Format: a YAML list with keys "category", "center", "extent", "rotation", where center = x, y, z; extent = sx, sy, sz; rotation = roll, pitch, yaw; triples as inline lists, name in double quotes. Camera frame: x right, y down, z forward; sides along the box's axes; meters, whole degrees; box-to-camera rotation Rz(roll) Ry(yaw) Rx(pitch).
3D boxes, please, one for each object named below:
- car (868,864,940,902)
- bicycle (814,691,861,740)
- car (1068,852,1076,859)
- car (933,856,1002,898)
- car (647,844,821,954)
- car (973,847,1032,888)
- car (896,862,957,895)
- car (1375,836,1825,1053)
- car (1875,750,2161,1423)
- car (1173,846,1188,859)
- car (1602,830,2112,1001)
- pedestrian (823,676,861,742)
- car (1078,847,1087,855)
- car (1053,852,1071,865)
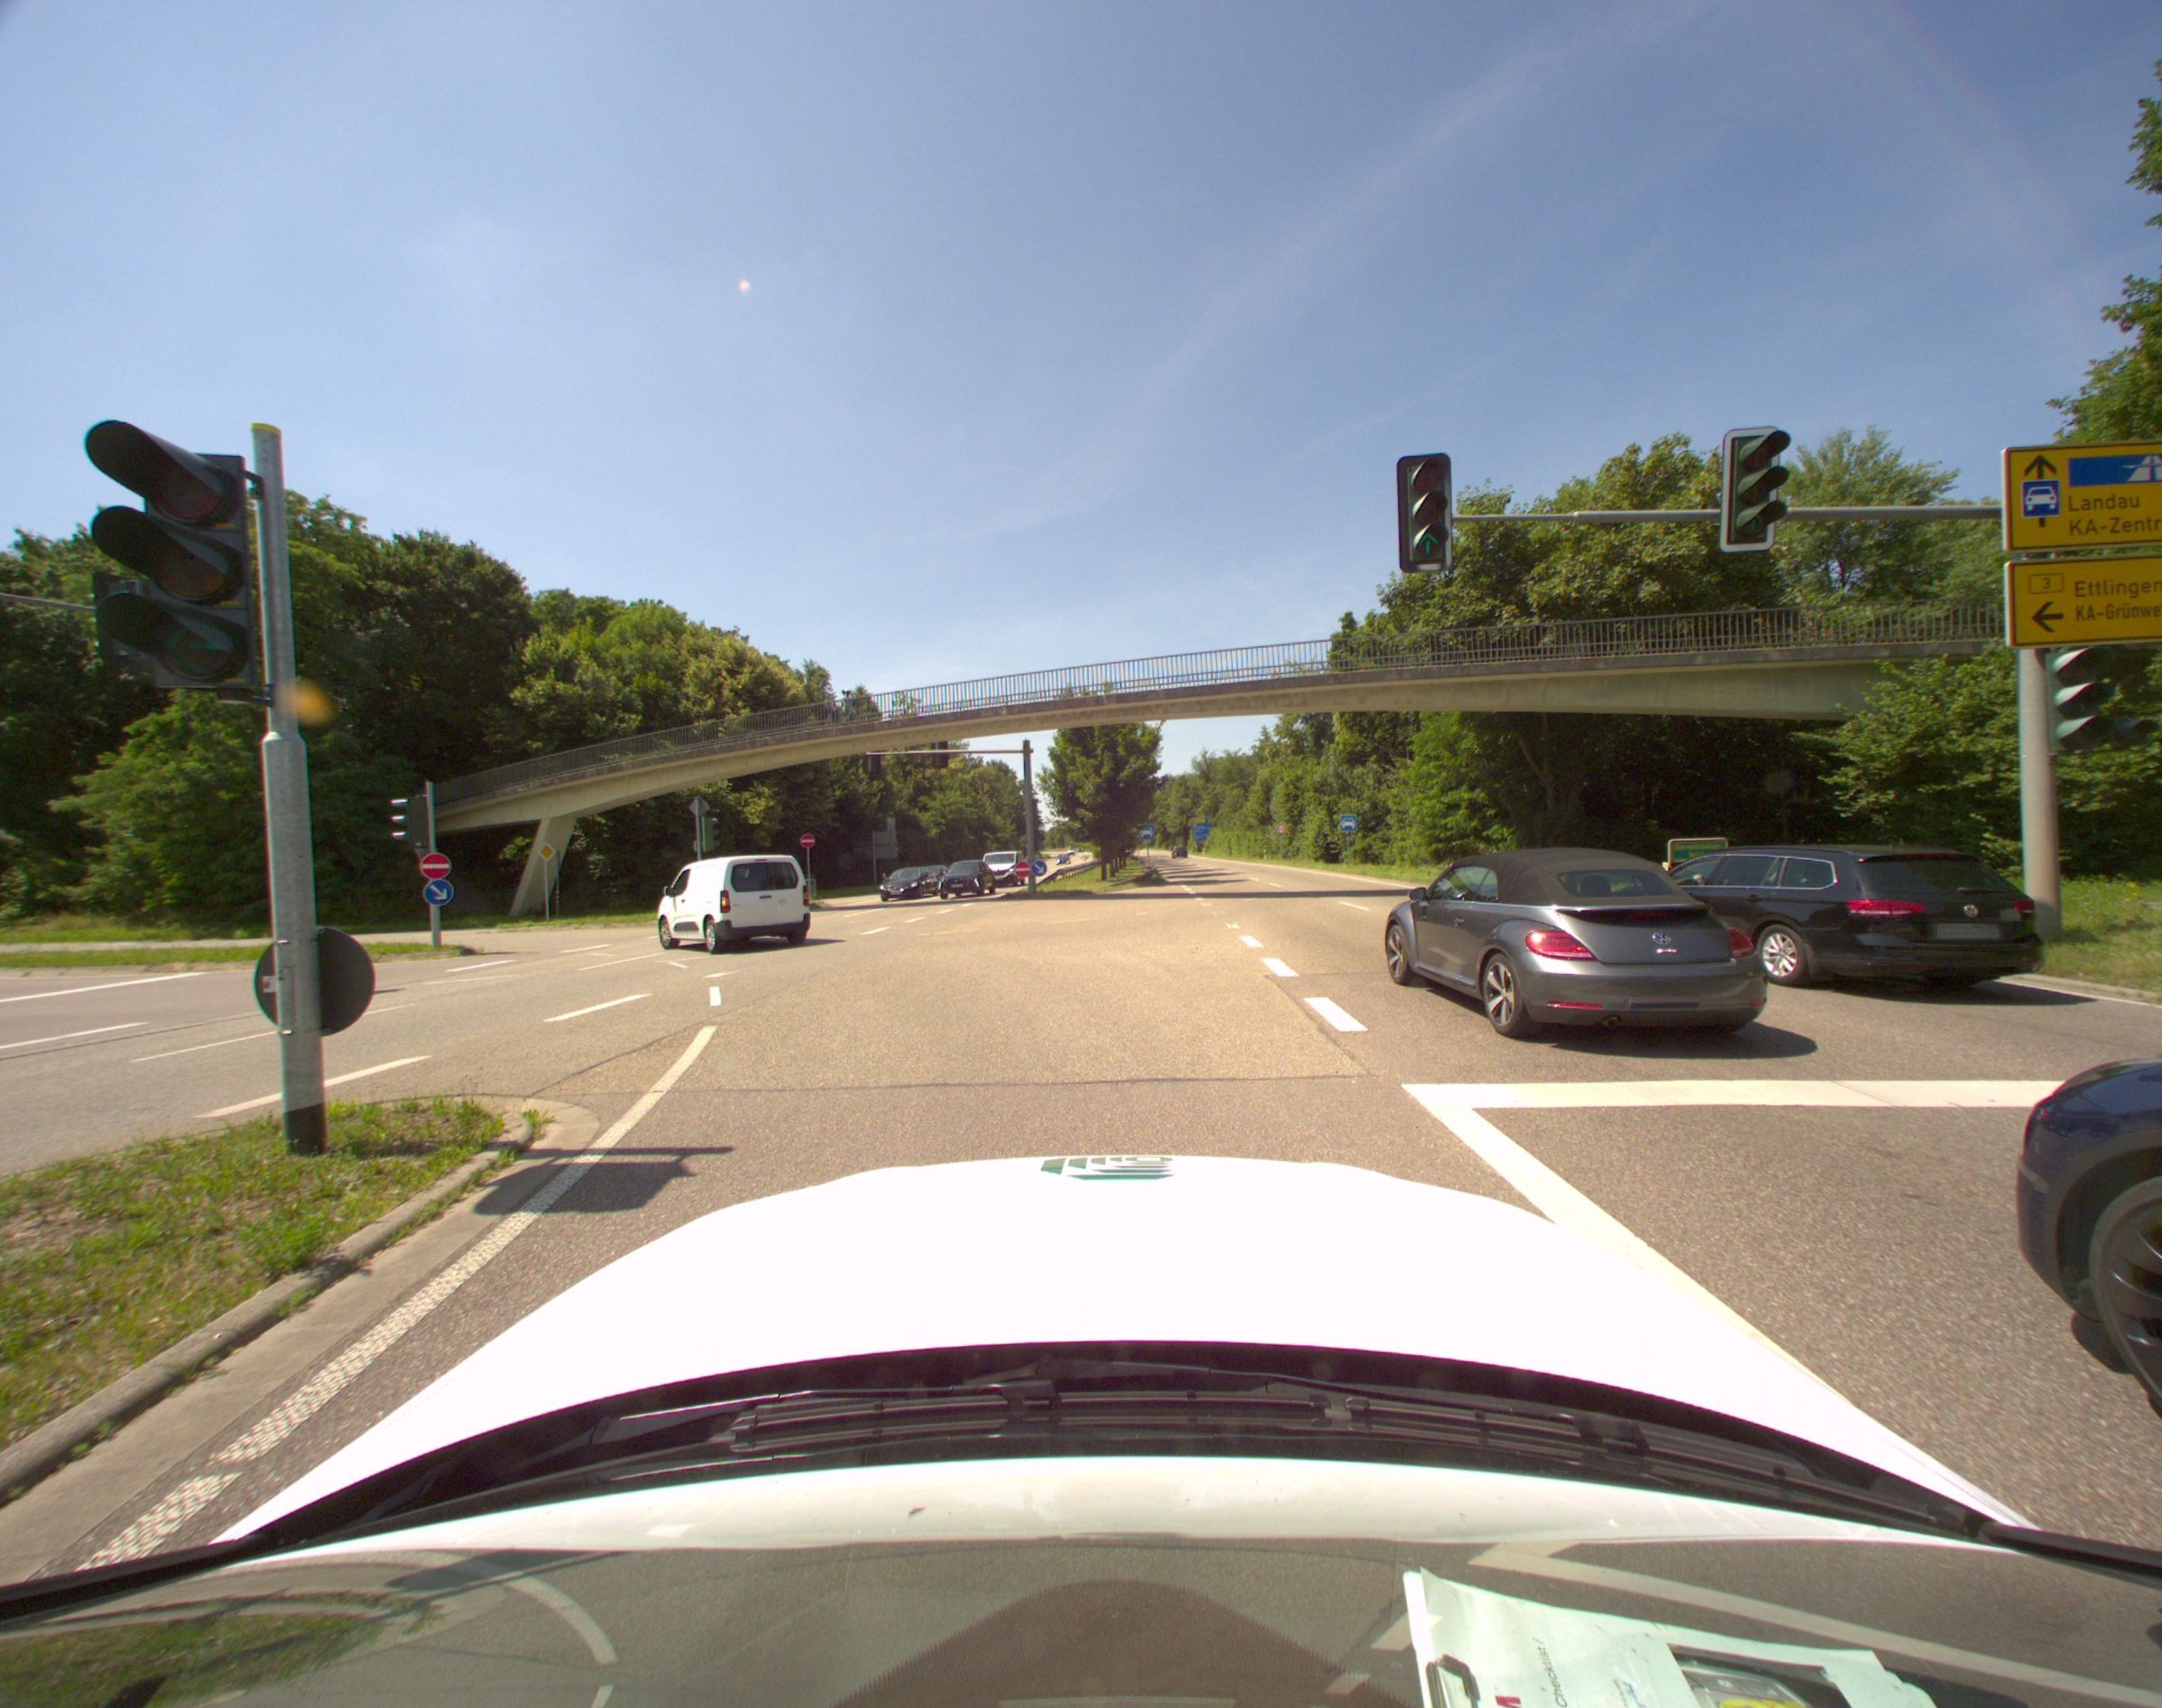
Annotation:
- category: "car"
  center: [-8.010, 1.276, 37.202]
  extent: [1.999, 1.460, 4.060]
  rotation: [-4, 0, 4]
- category: "bicycle"
  center: [-8.657, -4.922, 28.939]
  extent: [1.514, 1.474, 0.472]
  rotation: [-4, -2, 20]
- category: "car"
  center: [-2.165, 0.364, 200.883]
  extent: [1.988, 1.750, 3.997]
  rotation: [-1, -1, -2]
- category: "car"
  center: [-4.725, 0.917, 34.529]
  extent: [1.984, 1.523, 4.033]
  rotation: [-4, 0, 4]
- category: "car"
  center: [-7.130, 0.906, 16.561]
  extent: [1.866, 1.825, 3.932]
  rotation: [-6, 1, -44]
- category: "car"
  center: [-4.236, 0.692, 44.874]
  extent: [2.198, 1.993, 5.495]
  rotation: [-4, 0, 4]
- category: "car"
  center: [-7.850, 1.218, 41.760]
  extent: [1.999, 1.460, 4.060]
  rotation: [-4, 0, 4]
- category: "car"
  center: [4.261, 0.616, 7.560]
  extent: [1.891, 1.477, 3.944]
  rotation: [-1, 0, 4]
- category: "car"
  center: [3.476, 0.564, 0.428]
  extent: [1.892, 1.644, 4.525]
  rotation: [-1, 0, 4]
- category: "car"
  center: [14.324, -0.185, 116.976]
  extent: [2.031, 1.699, 5.097]
  rotation: [-2, 0, 7]
- category: "car"
  center: [8.189, 0.535, 9.331]
  extent: [1.891, 1.477, 4.386]
  rotation: [-1, 0, 5]
- category: "pedestrian"
  center: [-8.593, -5.211, 29.332]
  extent: [0.775, 2.139, 0.936]
  rotation: [-4, -2, 20]
- category: "car"
  center: [0.386, -0.883, 227.964]
  extent: [1.992, 2.014, 3.989]
  rotation: [-1, -1, -7]
- category: "car"
  center: [-2.620, 0.679, 114.905]
  extent: [1.999, 1.601, 4.060]
  rotation: [-4, -1, 4]
